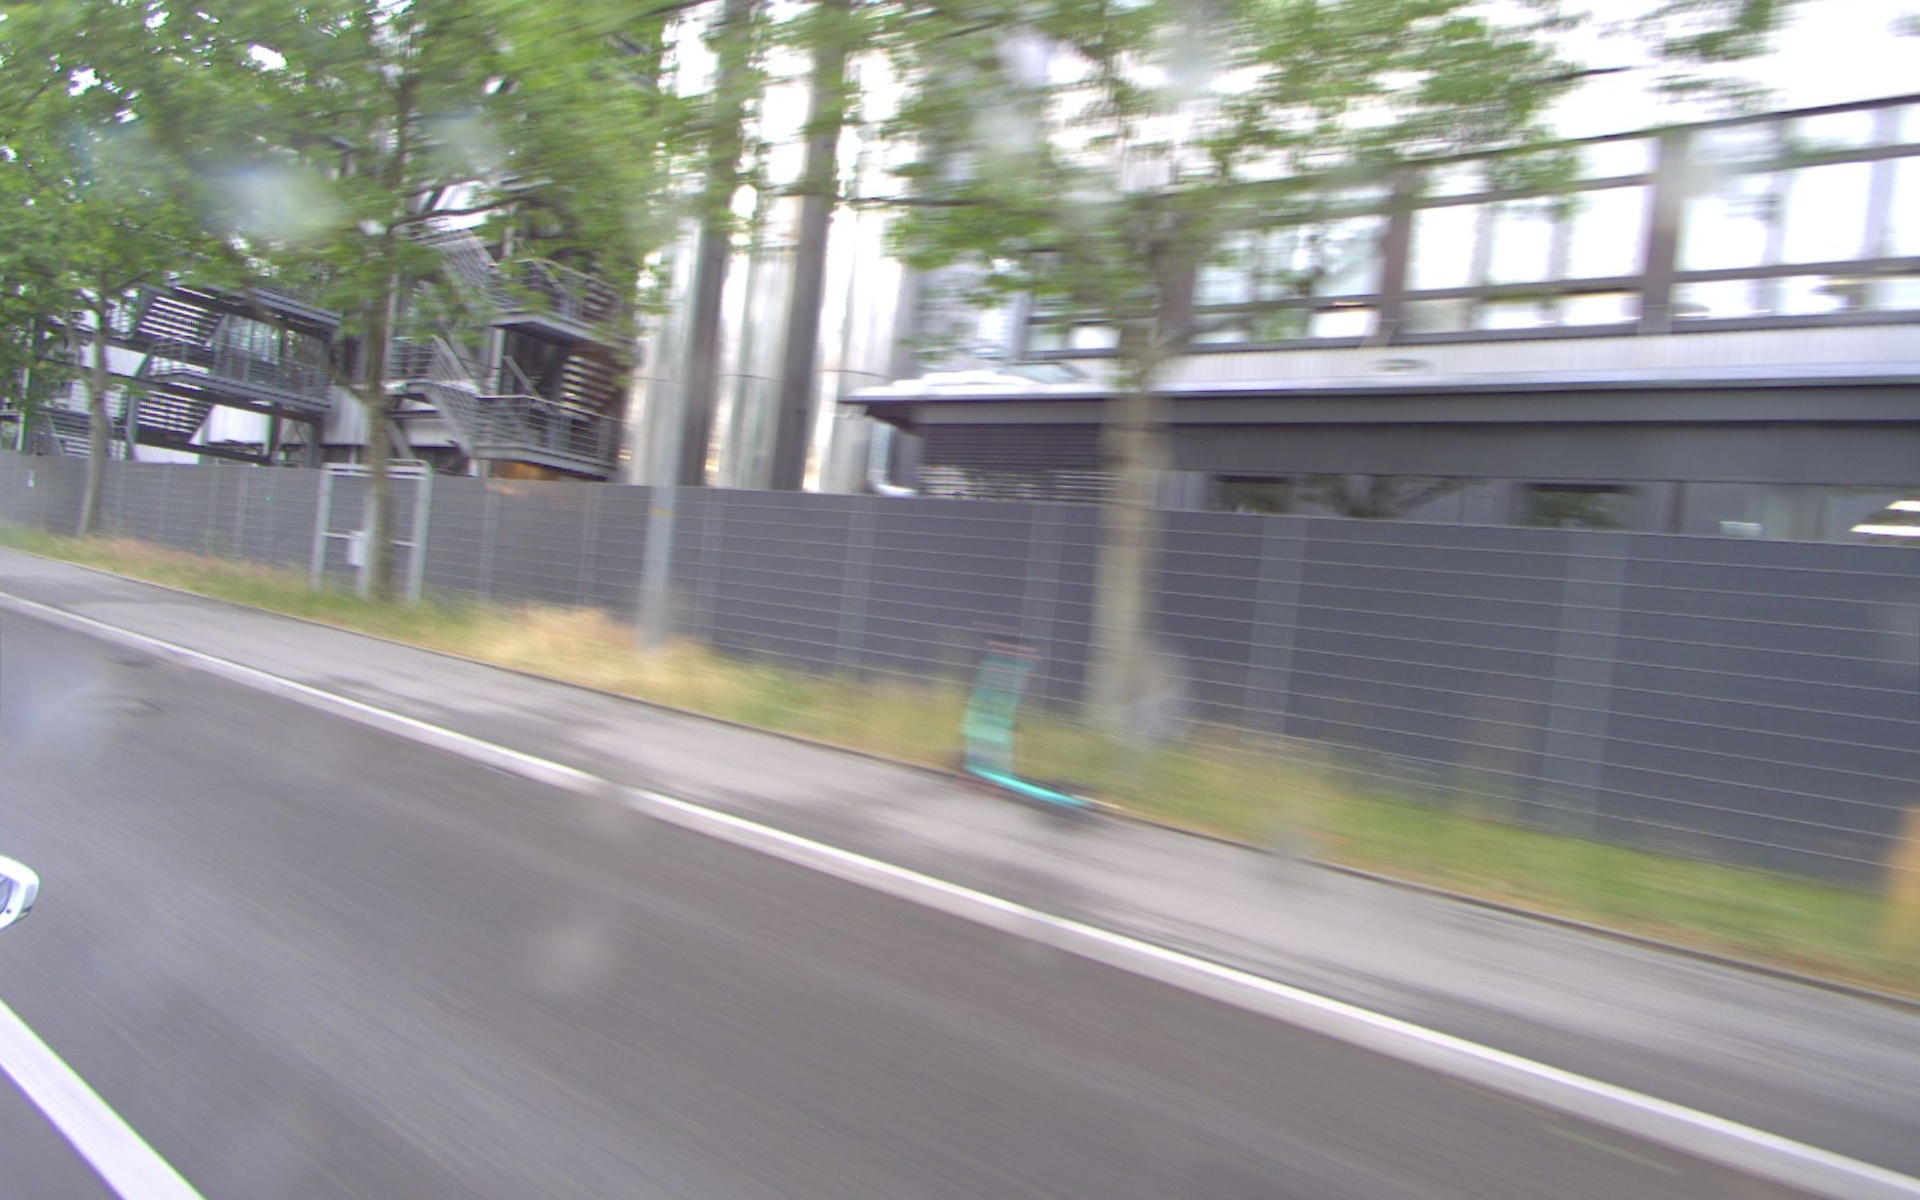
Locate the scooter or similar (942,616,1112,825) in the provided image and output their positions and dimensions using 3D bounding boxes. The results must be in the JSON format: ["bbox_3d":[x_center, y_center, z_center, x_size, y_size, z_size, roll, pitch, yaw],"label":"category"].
[{"bbox_3d":[0.453,0.815,7.131,1.093,1.285,0.328,7,1,41],"label":"scooter or similar"}]
